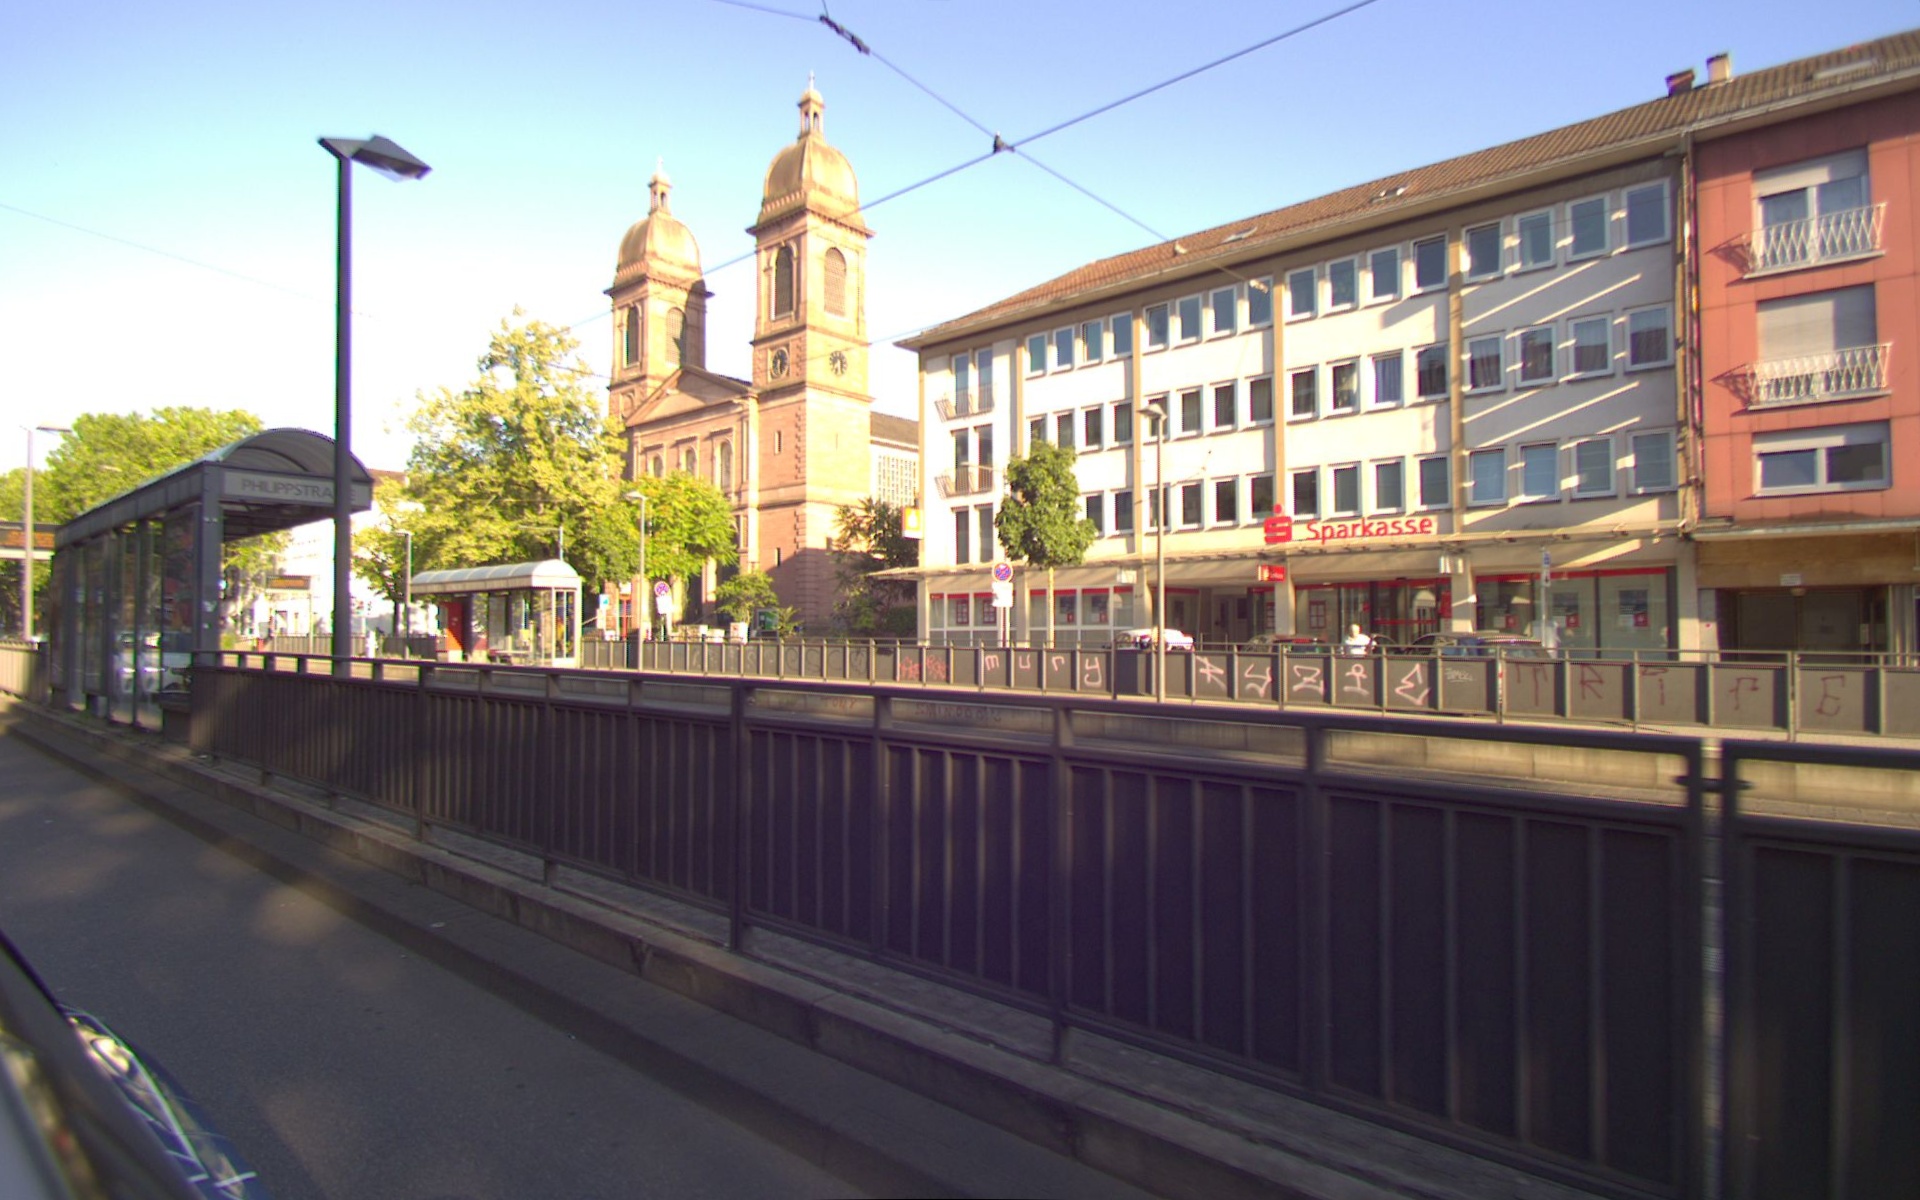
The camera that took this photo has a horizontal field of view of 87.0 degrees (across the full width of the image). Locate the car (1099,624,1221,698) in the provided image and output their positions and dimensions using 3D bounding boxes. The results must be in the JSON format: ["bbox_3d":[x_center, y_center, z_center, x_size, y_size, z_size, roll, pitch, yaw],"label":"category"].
[{"bbox_3d":[4.762,1.417,24.708,1.716,1.497,4.006,-1,0,-7],"label":"car"}]

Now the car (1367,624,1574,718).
[{"bbox_3d":[10.031,1.326,20.270,1.841,1.541,4.005,-1,0,-5],"label":"car"}]

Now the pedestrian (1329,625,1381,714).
[{"bbox_3d":[8.250,1.430,21.161,0.757,1.801,0.725,-1,0,-2],"label":"pedestrian"}]
